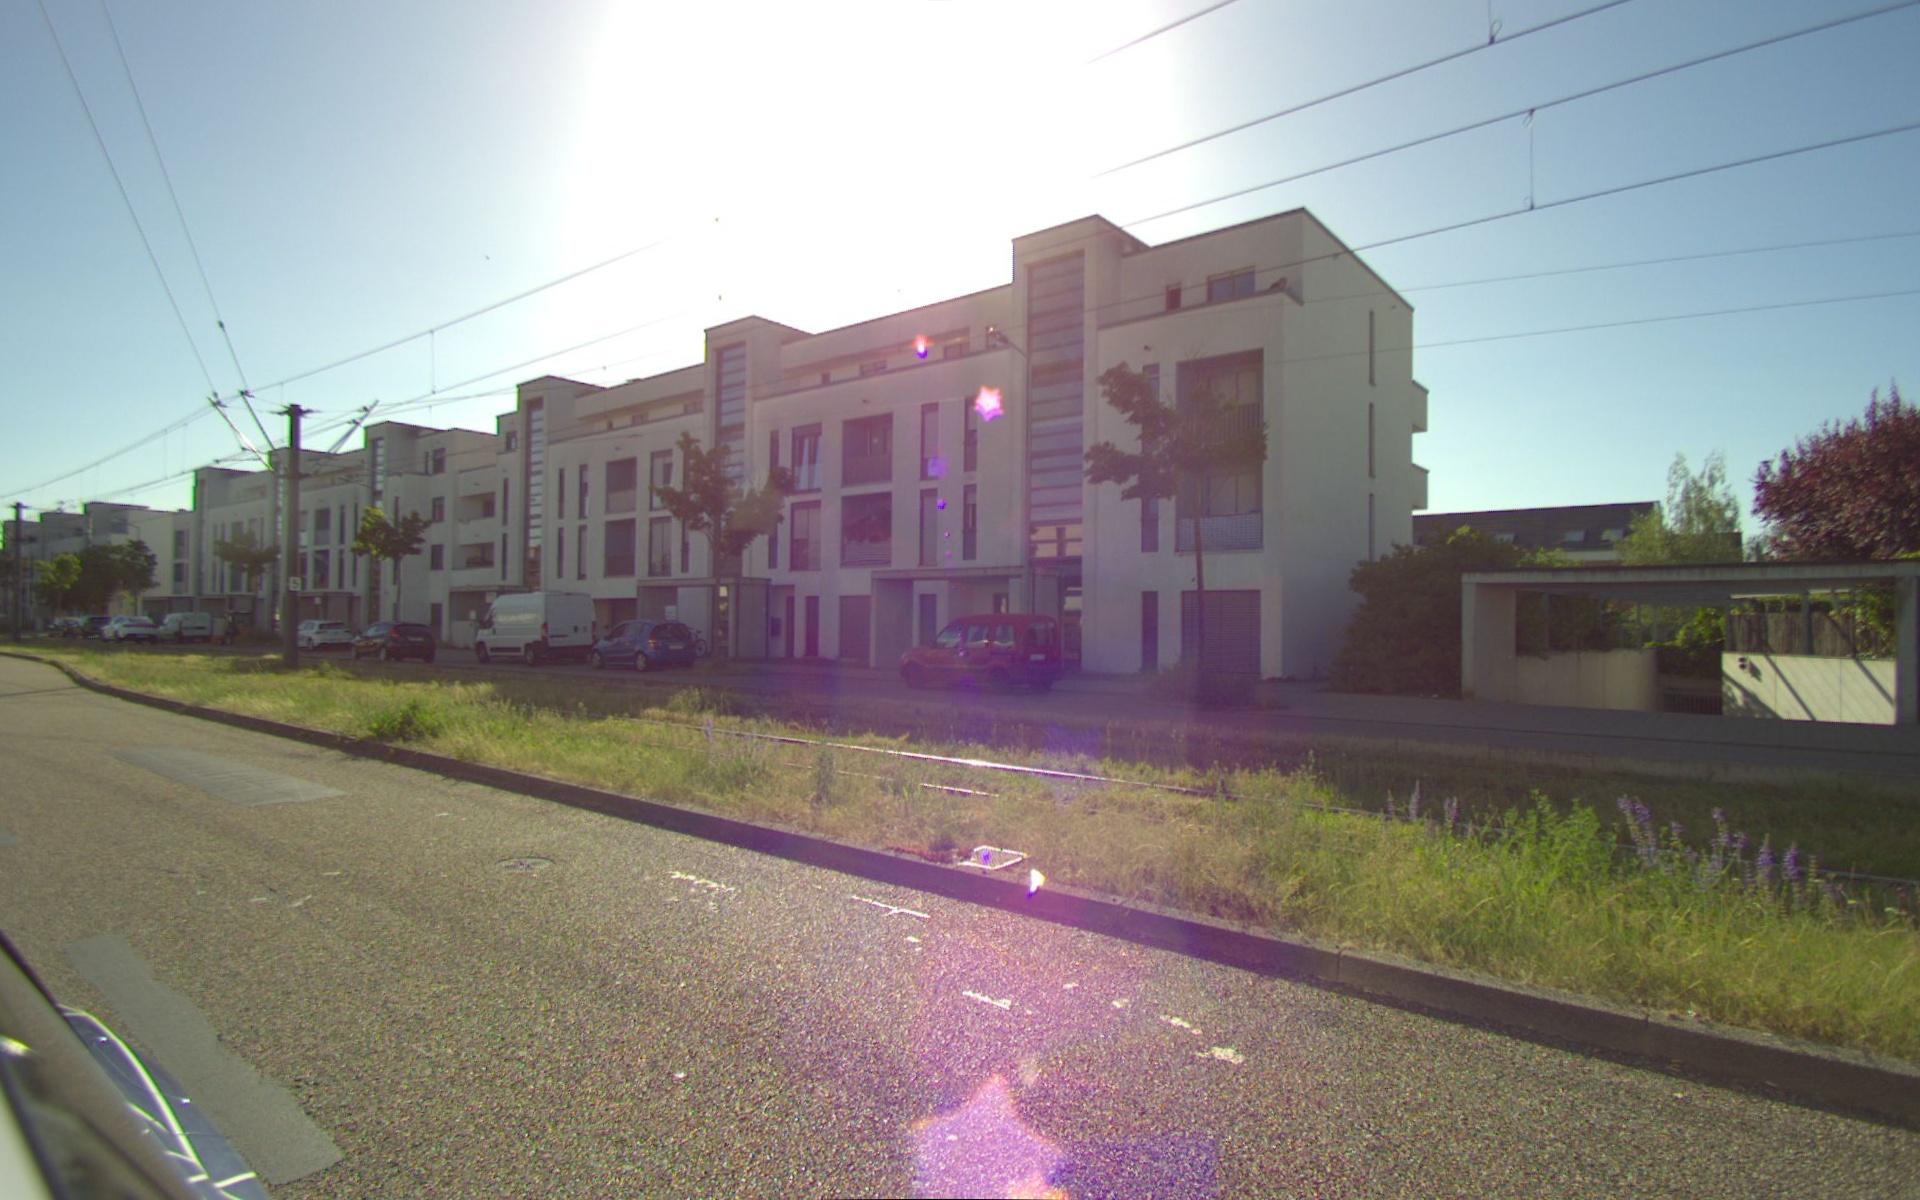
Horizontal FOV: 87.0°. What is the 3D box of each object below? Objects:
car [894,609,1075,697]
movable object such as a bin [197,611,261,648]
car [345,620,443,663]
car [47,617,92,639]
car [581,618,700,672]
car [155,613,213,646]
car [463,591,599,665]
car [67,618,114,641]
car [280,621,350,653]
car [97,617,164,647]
[{"bbox_3d":[0.504,1.136,22.966,3.836,1.809,1.861,-1,-1,42],"label":"car"},{"bbox_3d":[-40.936,1.626,56.622,4.149,1.952,1.745,-1,-1,37],"label":"movable object such as a bin"},{"bbox_3d":[-20.057,1.459,35.789,3.999,1.429,1.769,-1,-4,42],"label":"car"},{"bbox_3d":[-67.572,2.114,76.759,4.149,1.611,1.745,-1,-1,37],"label":"car"},{"bbox_3d":[-10.054,1.362,31.725,3.840,1.548,1.805,-1,-1,41],"label":"car"},{"bbox_3d":[-47.250,1.774,61.620,4.149,1.884,1.745,-1,-1,37],"label":"car"},{"bbox_3d":[-15.341,0.975,36.058,5.583,2.463,2.119,-1,-1,39],"label":"car"},{"bbox_3d":[-63.050,2.117,73.388,4.149,1.611,1.745,-1,-1,37],"label":"car"},{"bbox_3d":[-31.156,1.774,48.832,4.149,1.443,1.503,-1,-1,37],"label":"car"},{"bbox_3d":[-47.487,1.821,57.917,4.641,1.608,1.974,-1,-4,39],"label":"car"}]
